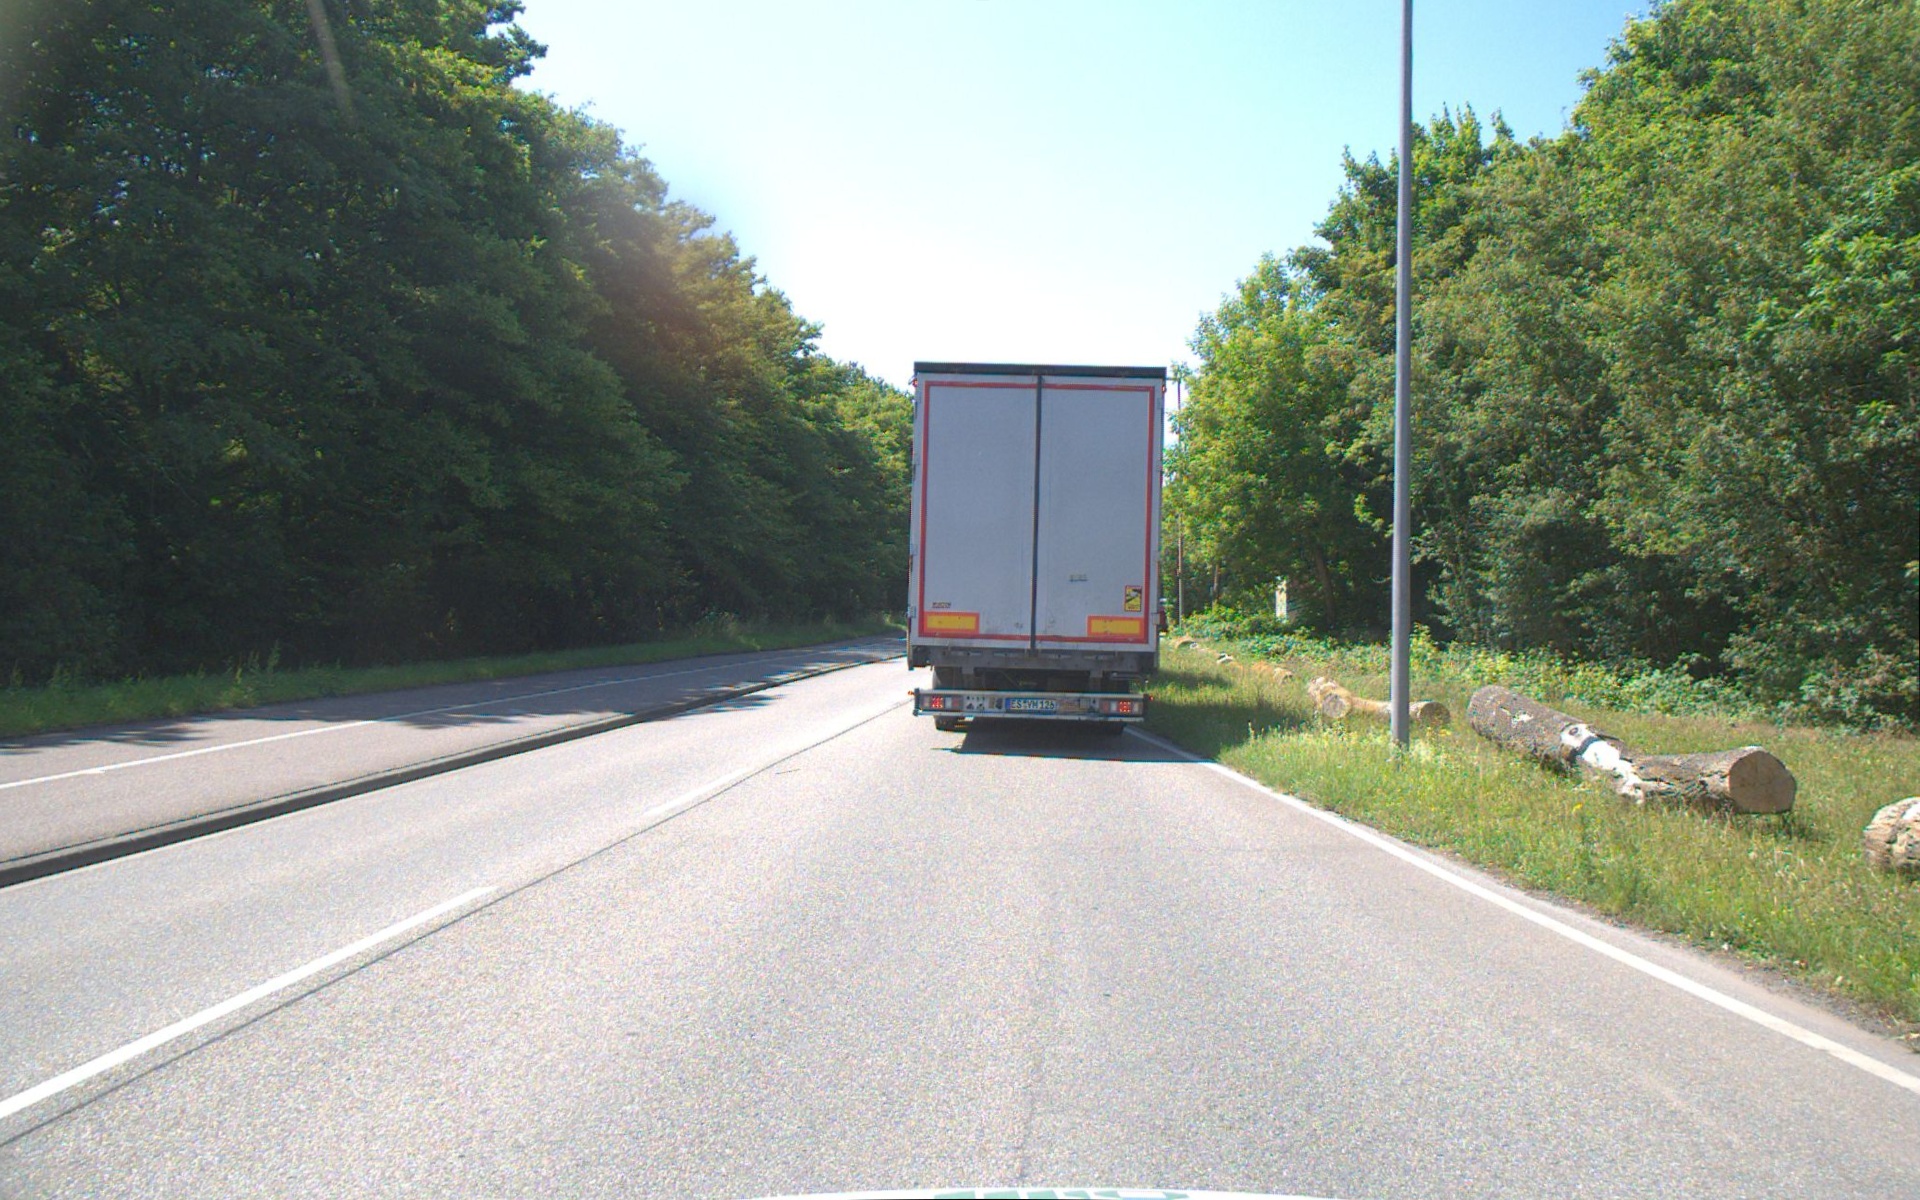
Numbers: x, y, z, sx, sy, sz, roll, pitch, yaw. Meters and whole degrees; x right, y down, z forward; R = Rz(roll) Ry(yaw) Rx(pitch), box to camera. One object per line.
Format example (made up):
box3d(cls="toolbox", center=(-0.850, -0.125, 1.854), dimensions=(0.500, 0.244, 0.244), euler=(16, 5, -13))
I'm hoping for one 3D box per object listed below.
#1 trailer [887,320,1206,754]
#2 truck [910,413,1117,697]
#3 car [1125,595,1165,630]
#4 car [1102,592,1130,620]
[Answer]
box3d(cls="trailer", center=(0.816, -0.627, 20.945), dimensions=(3.014, 4.141, 9.808), euler=(1, 0, 0))
box3d(cls="truck", center=(0.739, -0.682, 28.223), dimensions=(3.014, 4.141, 7.958), euler=(0, 0, -1))
box3d(cls="car", center=(8.290, 0.541, 74.314), dimensions=(1.674, 1.557, 3.853), euler=(0, 0, 4))
box3d(cls="car", center=(11.566, 0.444, 122.845), dimensions=(1.951, 2.049, 4.002), euler=(-1, 0, 4))
